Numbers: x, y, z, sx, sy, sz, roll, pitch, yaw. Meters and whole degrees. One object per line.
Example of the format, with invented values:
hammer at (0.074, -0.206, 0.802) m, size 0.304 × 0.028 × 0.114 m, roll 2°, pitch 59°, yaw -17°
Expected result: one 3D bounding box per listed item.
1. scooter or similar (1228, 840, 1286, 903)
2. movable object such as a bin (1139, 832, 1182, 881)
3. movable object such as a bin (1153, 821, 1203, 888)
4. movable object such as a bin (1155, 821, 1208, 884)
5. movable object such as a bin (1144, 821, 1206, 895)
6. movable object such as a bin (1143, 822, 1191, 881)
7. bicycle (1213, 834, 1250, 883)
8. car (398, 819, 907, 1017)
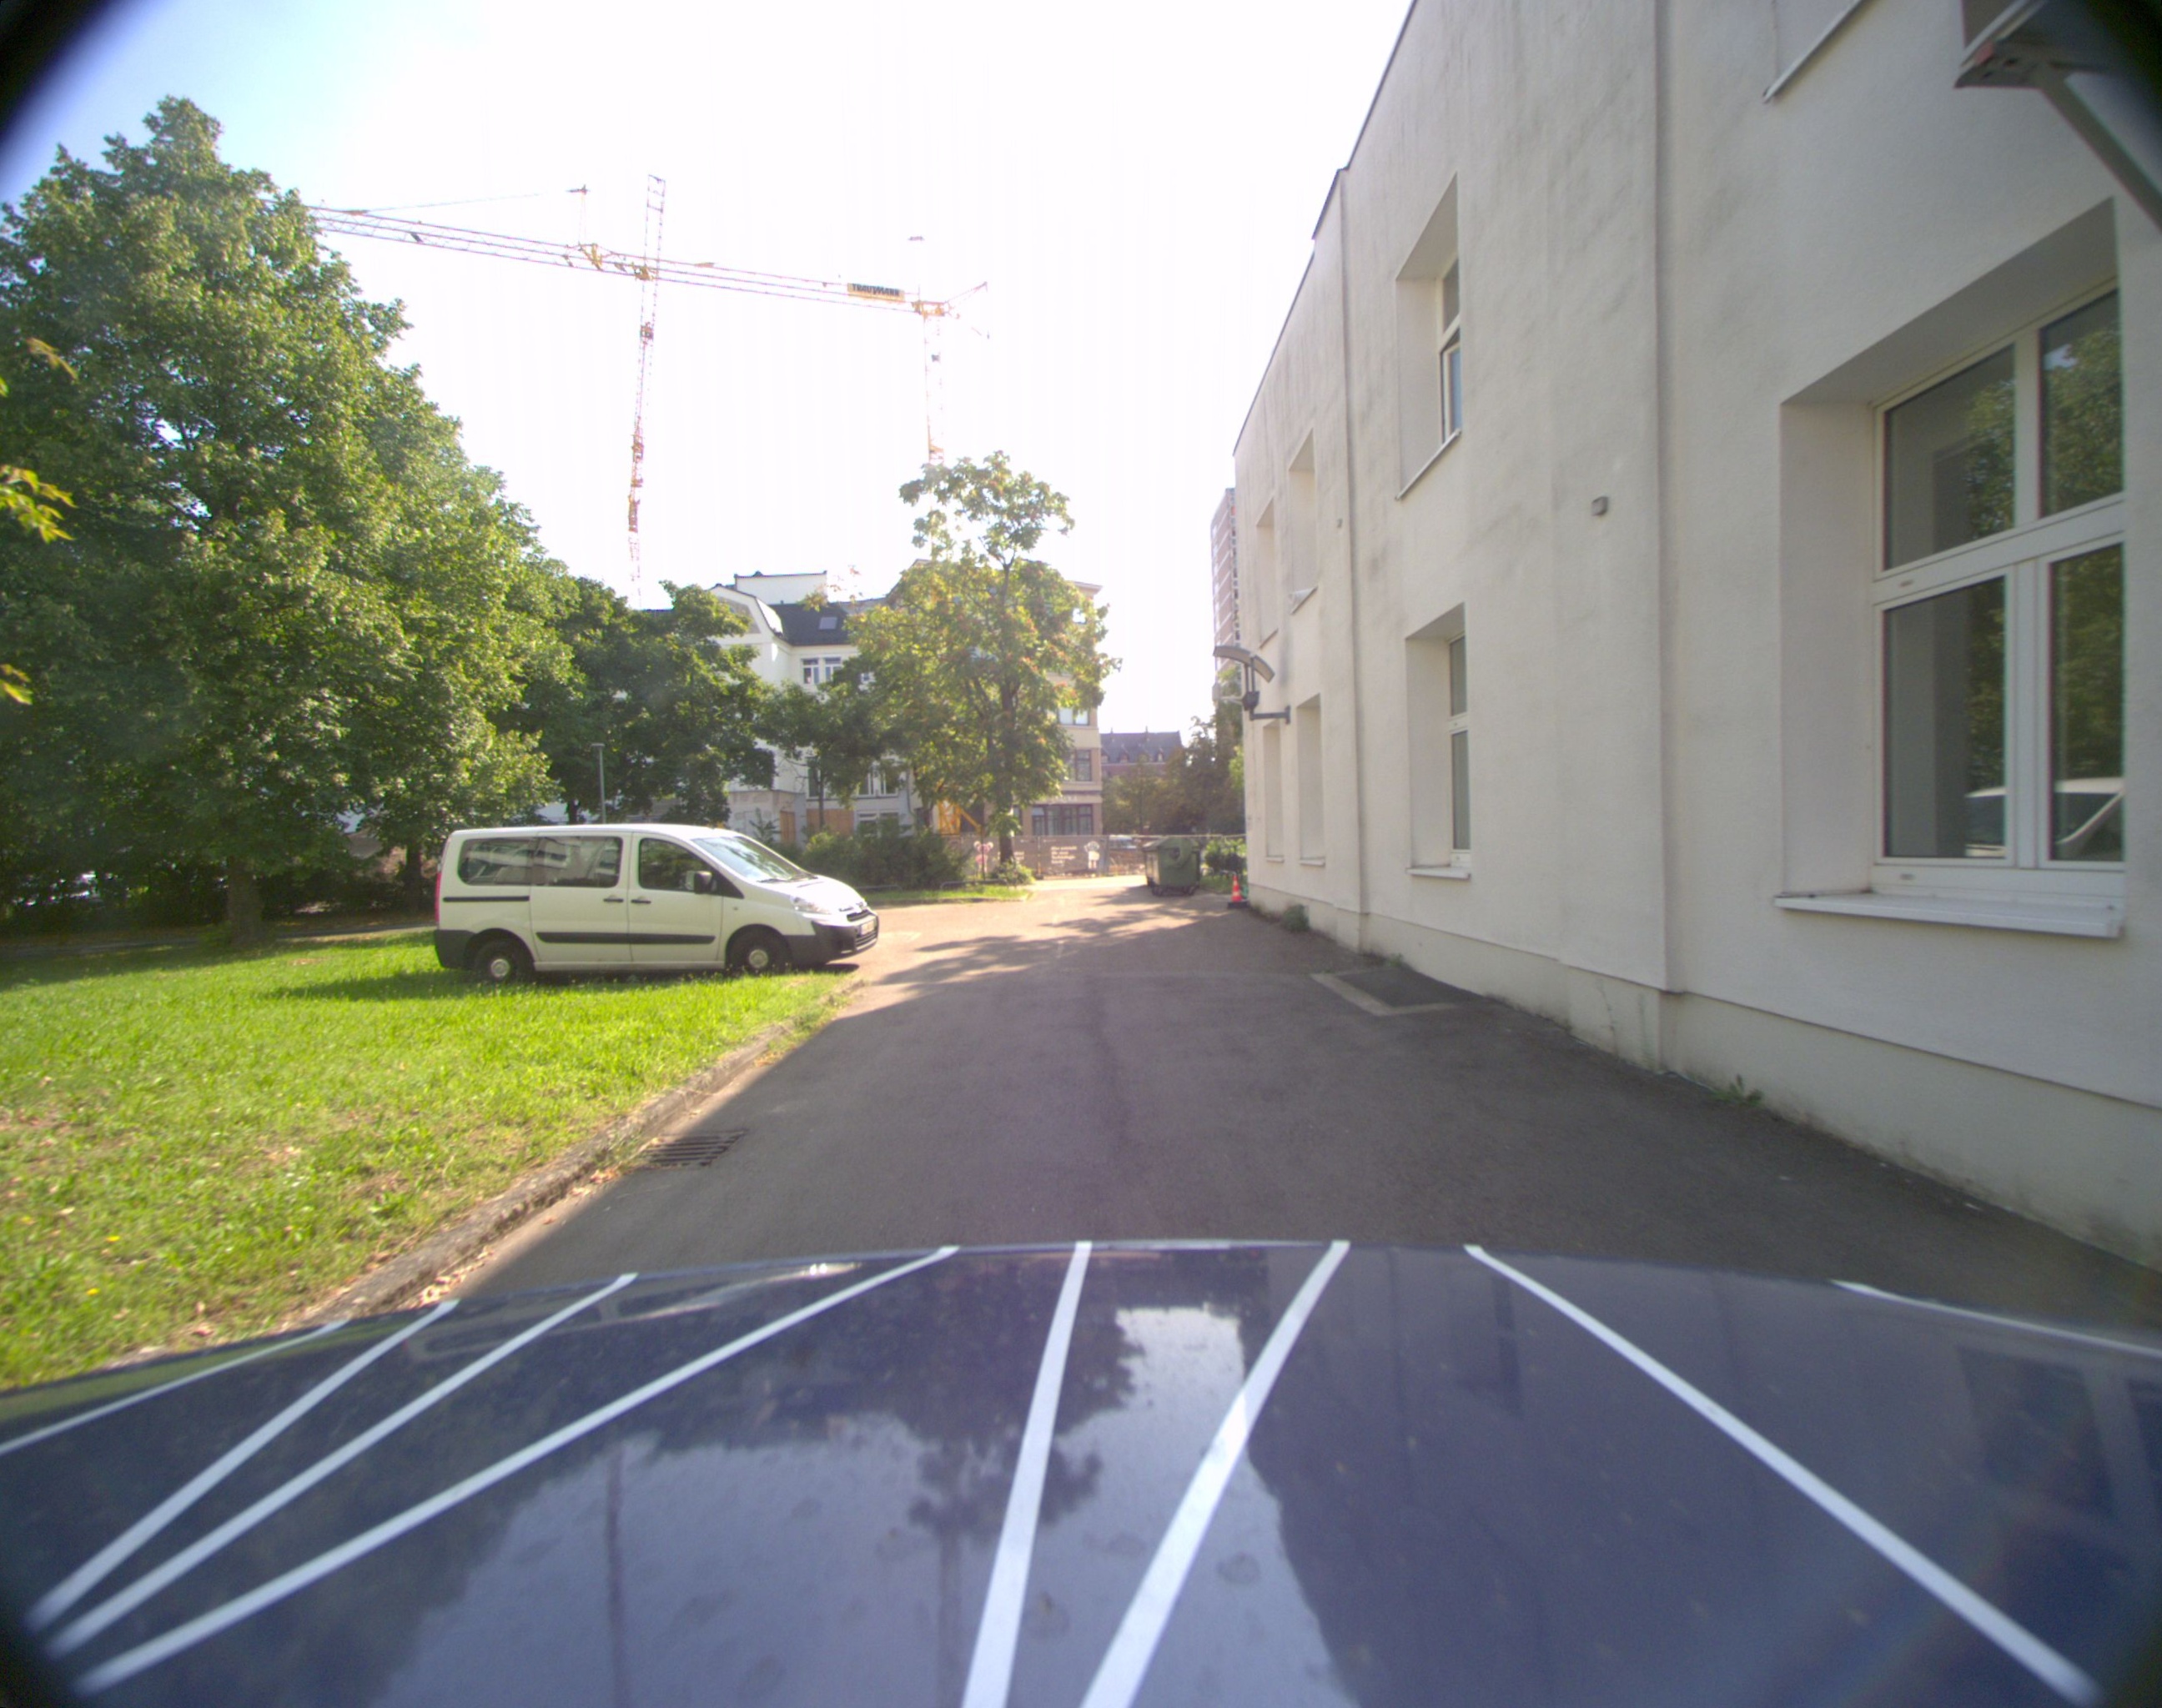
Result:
scooter or similar at (3.673, 0.343, 15.977) m, size 0.386 × 1.255 × 1.493 m, roll -4°, pitch 2°, yaw -20°
movable object such as a bin at (2.571, 0.065, 24.715) m, size 1.037 × 1.489 × 1.106 m, roll -3°, pitch 2°, yaw -11°
movable object such as a bin at (2.605, -0.011, 20.506) m, size 1.183 × 1.696 × 1.395 m, roll -3°, pitch 2°, yaw 4°
movable object such as a bin at (2.885, -0.073, 21.913) m, size 1.184 × 1.696 × 1.376 m, roll -3°, pitch 2°, yaw -4°
movable object such as a bin at (2.289, 0.067, 18.707) m, size 1.184 × 1.696 × 1.376 m, roll -3°, pitch 2°, yaw -4°
movable object such as a bin at (2.617, -0.108, 23.309) m, size 1.184 × 1.696 × 1.376 m, roll -3°, pitch 2°, yaw -4°
bicycle at (3.982, 0.077, 20.236) m, size 0.477 × 1.206 × 2.007 m, roll -3°, pitch 2°, yaw -1°
car at (-4.925, 0.678, 9.317) m, size 4.969 × 1.910 × 2.043 m, roll -3°, pitch 3°, yaw 2°
